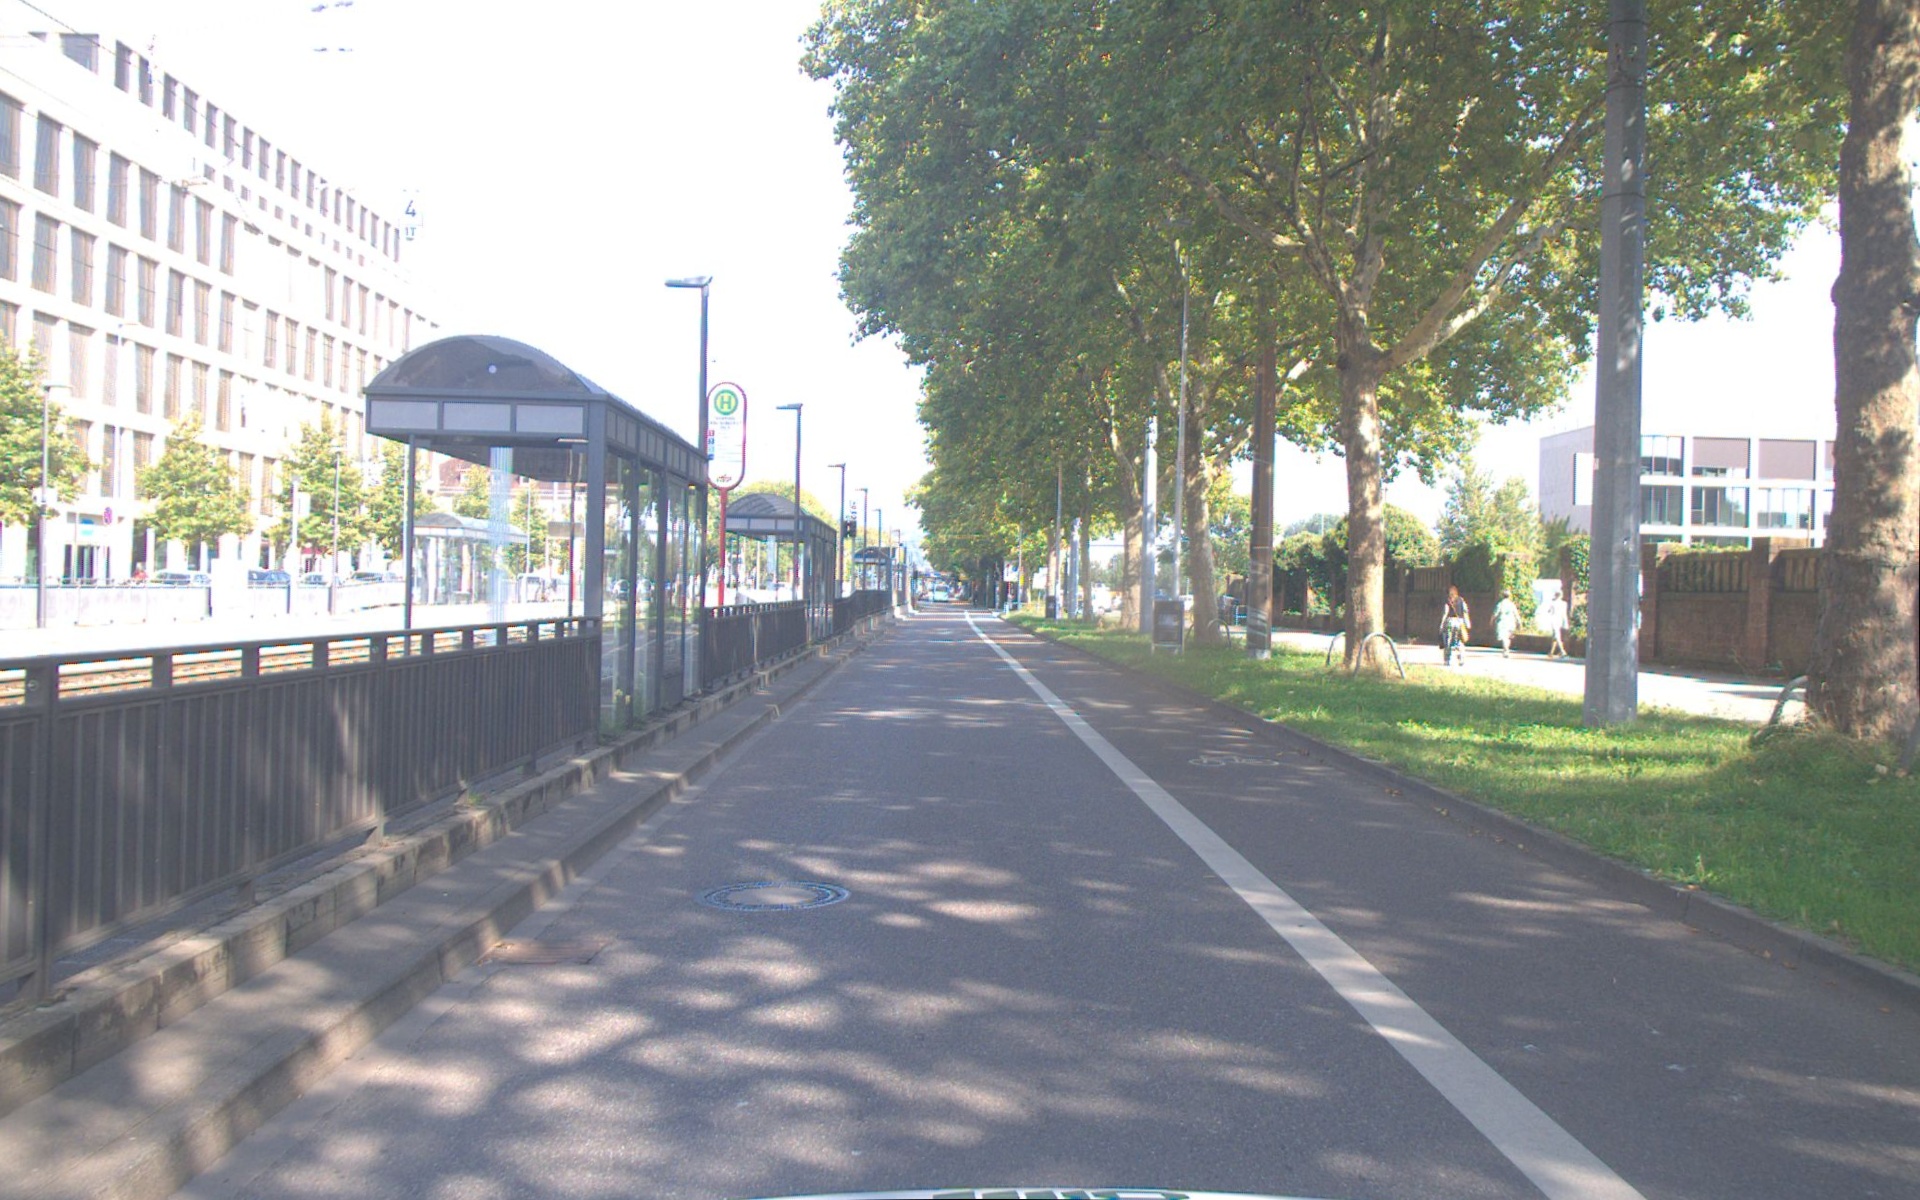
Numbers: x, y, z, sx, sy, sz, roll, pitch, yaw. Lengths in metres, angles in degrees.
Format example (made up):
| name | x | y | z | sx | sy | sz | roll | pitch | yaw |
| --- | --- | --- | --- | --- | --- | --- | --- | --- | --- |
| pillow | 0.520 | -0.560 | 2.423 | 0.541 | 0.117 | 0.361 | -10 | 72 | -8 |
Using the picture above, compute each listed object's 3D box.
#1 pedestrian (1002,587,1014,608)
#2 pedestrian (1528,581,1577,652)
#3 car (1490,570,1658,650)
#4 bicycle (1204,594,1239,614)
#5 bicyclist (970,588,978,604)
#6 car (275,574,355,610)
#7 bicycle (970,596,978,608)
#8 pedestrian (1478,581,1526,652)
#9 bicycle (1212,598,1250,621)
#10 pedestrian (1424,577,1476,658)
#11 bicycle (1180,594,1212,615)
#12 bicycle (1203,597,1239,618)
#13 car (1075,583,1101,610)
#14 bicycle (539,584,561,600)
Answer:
| name | x | y | z | sx | sy | sz | roll | pitch | yaw |
| --- | --- | --- | --- | --- | --- | --- | --- | --- | --- |
| pedestrian | 3.899 | -0.203 | 134.196 | 0.614 | 1.645 | 0.841 | 1 | 0 | 37 |
| pedestrian | 13.788 | 0.368 | 38.518 | 0.789 | 1.632 | 0.947 | 0 | 0 | -1 |
| car | 19.697 | 0.323 | 53.199 | 4.567 | 2.358 | 2.055 | 2 | 0 | -1 |
| bicycle | 12.924 | 0.186 | 81.779 | 1.622 | 0.986 | 0.506 | -1 | 0 | 2 |
| bicyclist | 1.374 | -0.370 | 158.758 | 0.691 | 1.486 | 1.009 | 2 | 0 | 0 |
| car | -26.070 | -0.328 | 66.982 | 1.609 | 1.401 | 4.222 | 1 | 0 | -1 |
| bicycle | 1.358 | 0.161 | 158.642 | 0.700 | 1.127 | 2.508 | 2 | 0 | 0 |
| pedestrian | 12.631 | 0.377 | 38.545 | 0.789 | 1.632 | 0.947 | 0 | 0 | -1 |
| bicycle | 12.187 | 0.436 | 74.322 | 1.621 | 0.986 | 0.506 | -1 | 0 | 5 |
| pedestrian | 10.300 | 0.365 | 34.808 | 0.789 | 1.665 | 0.947 | 0 | 0 | -1 |
| bicycle | 11.531 | 0.222 | 80.865 | 0.502 | 0.986 | 1.636 | -1 | 0 | -42 |
| bicycle | 12.200 | 0.348 | 77.223 | 1.621 | 0.986 | 0.506 | -1 | 0 | 5 |
| car | 10.150 | -0.321 | 131.341 | 1.687 | 2.084 | 4.461 | 1 | 0 | 0 |
| bicycle | -17.823 | -0.339 | 71.962 | 0.467 | 0.674 | 1.614 | 1 | 0 | 4 |
